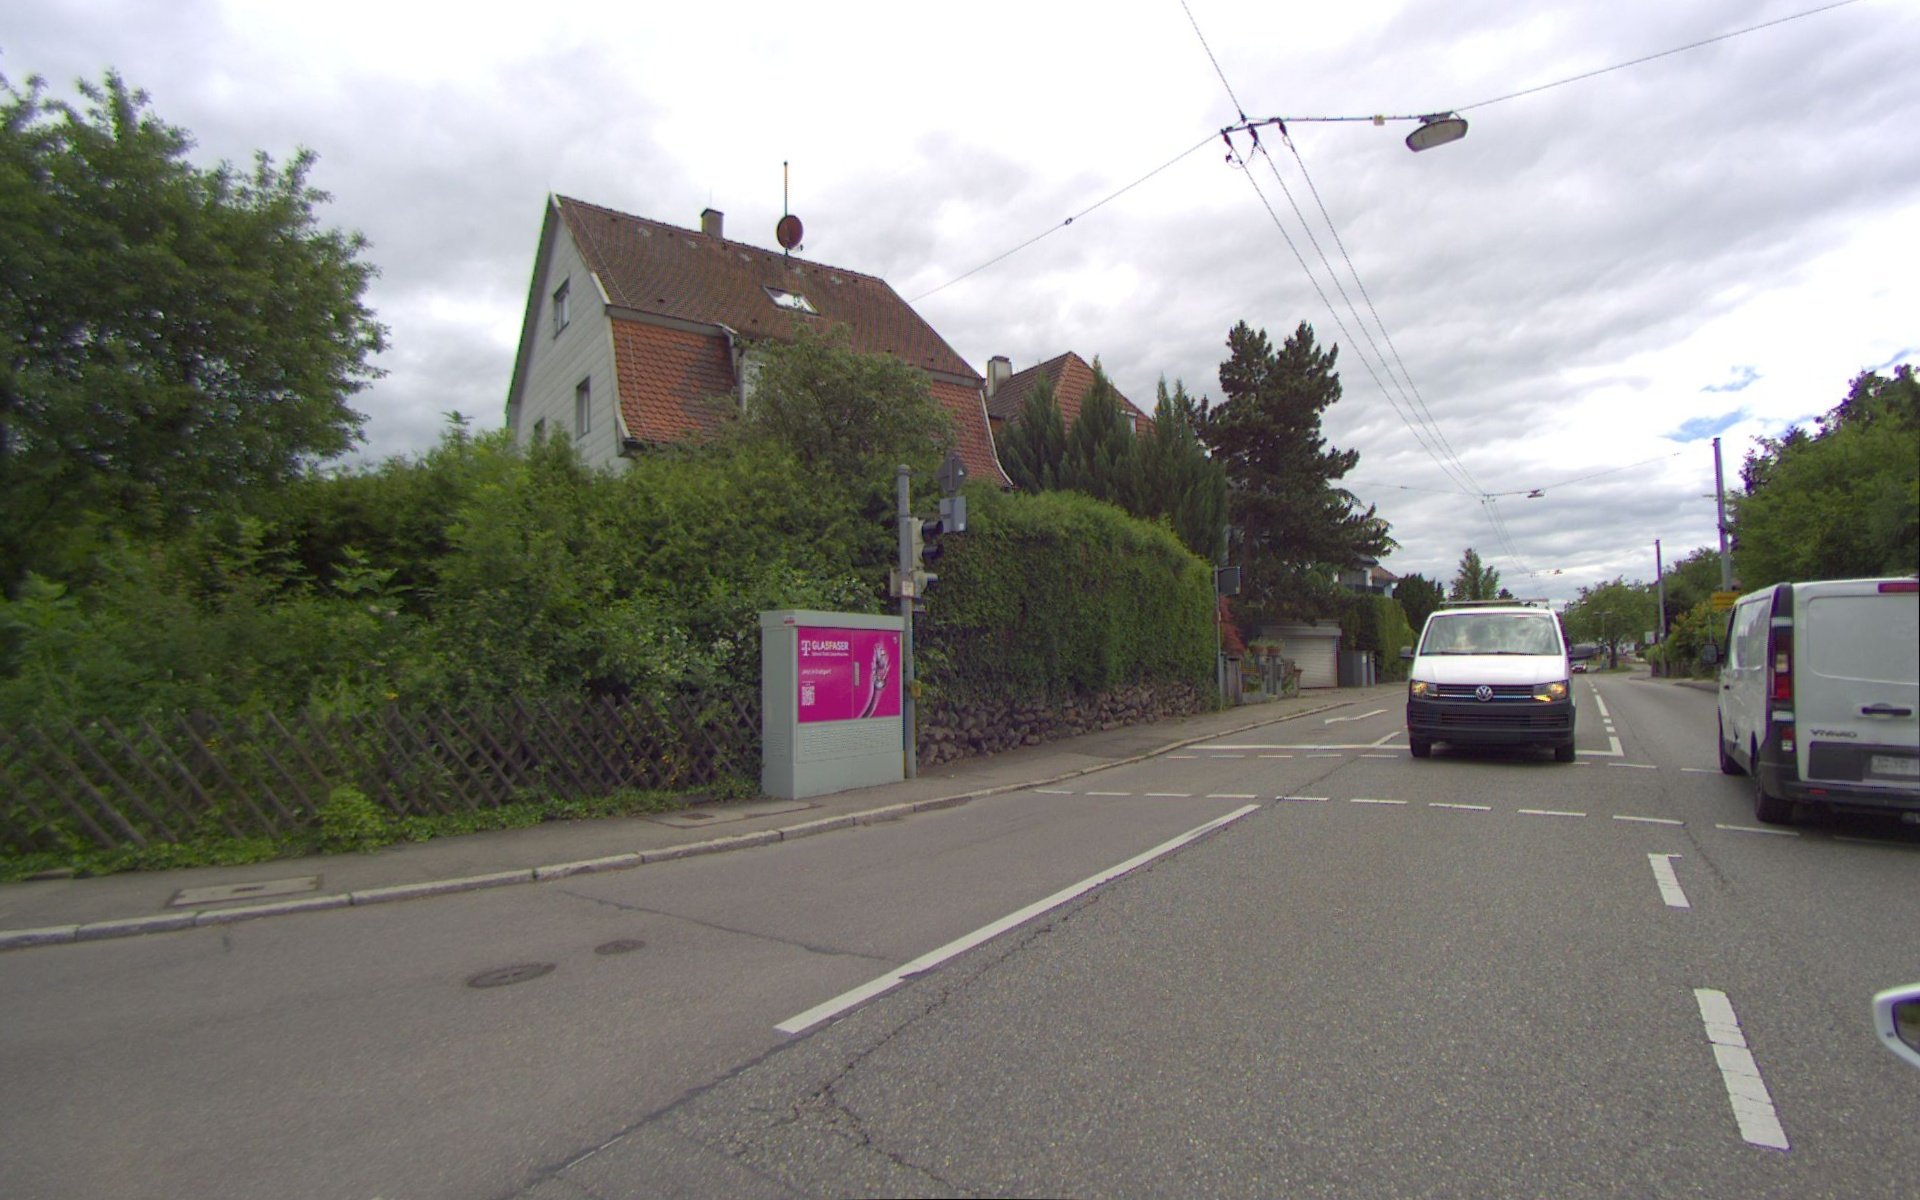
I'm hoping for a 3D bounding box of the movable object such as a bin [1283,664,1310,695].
[{"bbox_3d":[10.344,2.443,30.898,0.639,0.954,0.461,1,-3,-29],"label":"movable object such as a bin"}]

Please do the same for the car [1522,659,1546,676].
[{"bbox_3d":[55.504,6.539,97.090,1.784,1.473,4.405,-6,-6,31],"label":"car"}]

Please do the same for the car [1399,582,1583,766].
[{"bbox_3d":[7.544,0.978,14.053,1.832,2.074,5.161,-3,-4,31],"label":"car"}]

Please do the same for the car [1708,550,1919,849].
[{"bbox_3d":[8.096,0.772,9.004,1.979,2.064,4.996,-1,-2,34],"label":"car"}]
